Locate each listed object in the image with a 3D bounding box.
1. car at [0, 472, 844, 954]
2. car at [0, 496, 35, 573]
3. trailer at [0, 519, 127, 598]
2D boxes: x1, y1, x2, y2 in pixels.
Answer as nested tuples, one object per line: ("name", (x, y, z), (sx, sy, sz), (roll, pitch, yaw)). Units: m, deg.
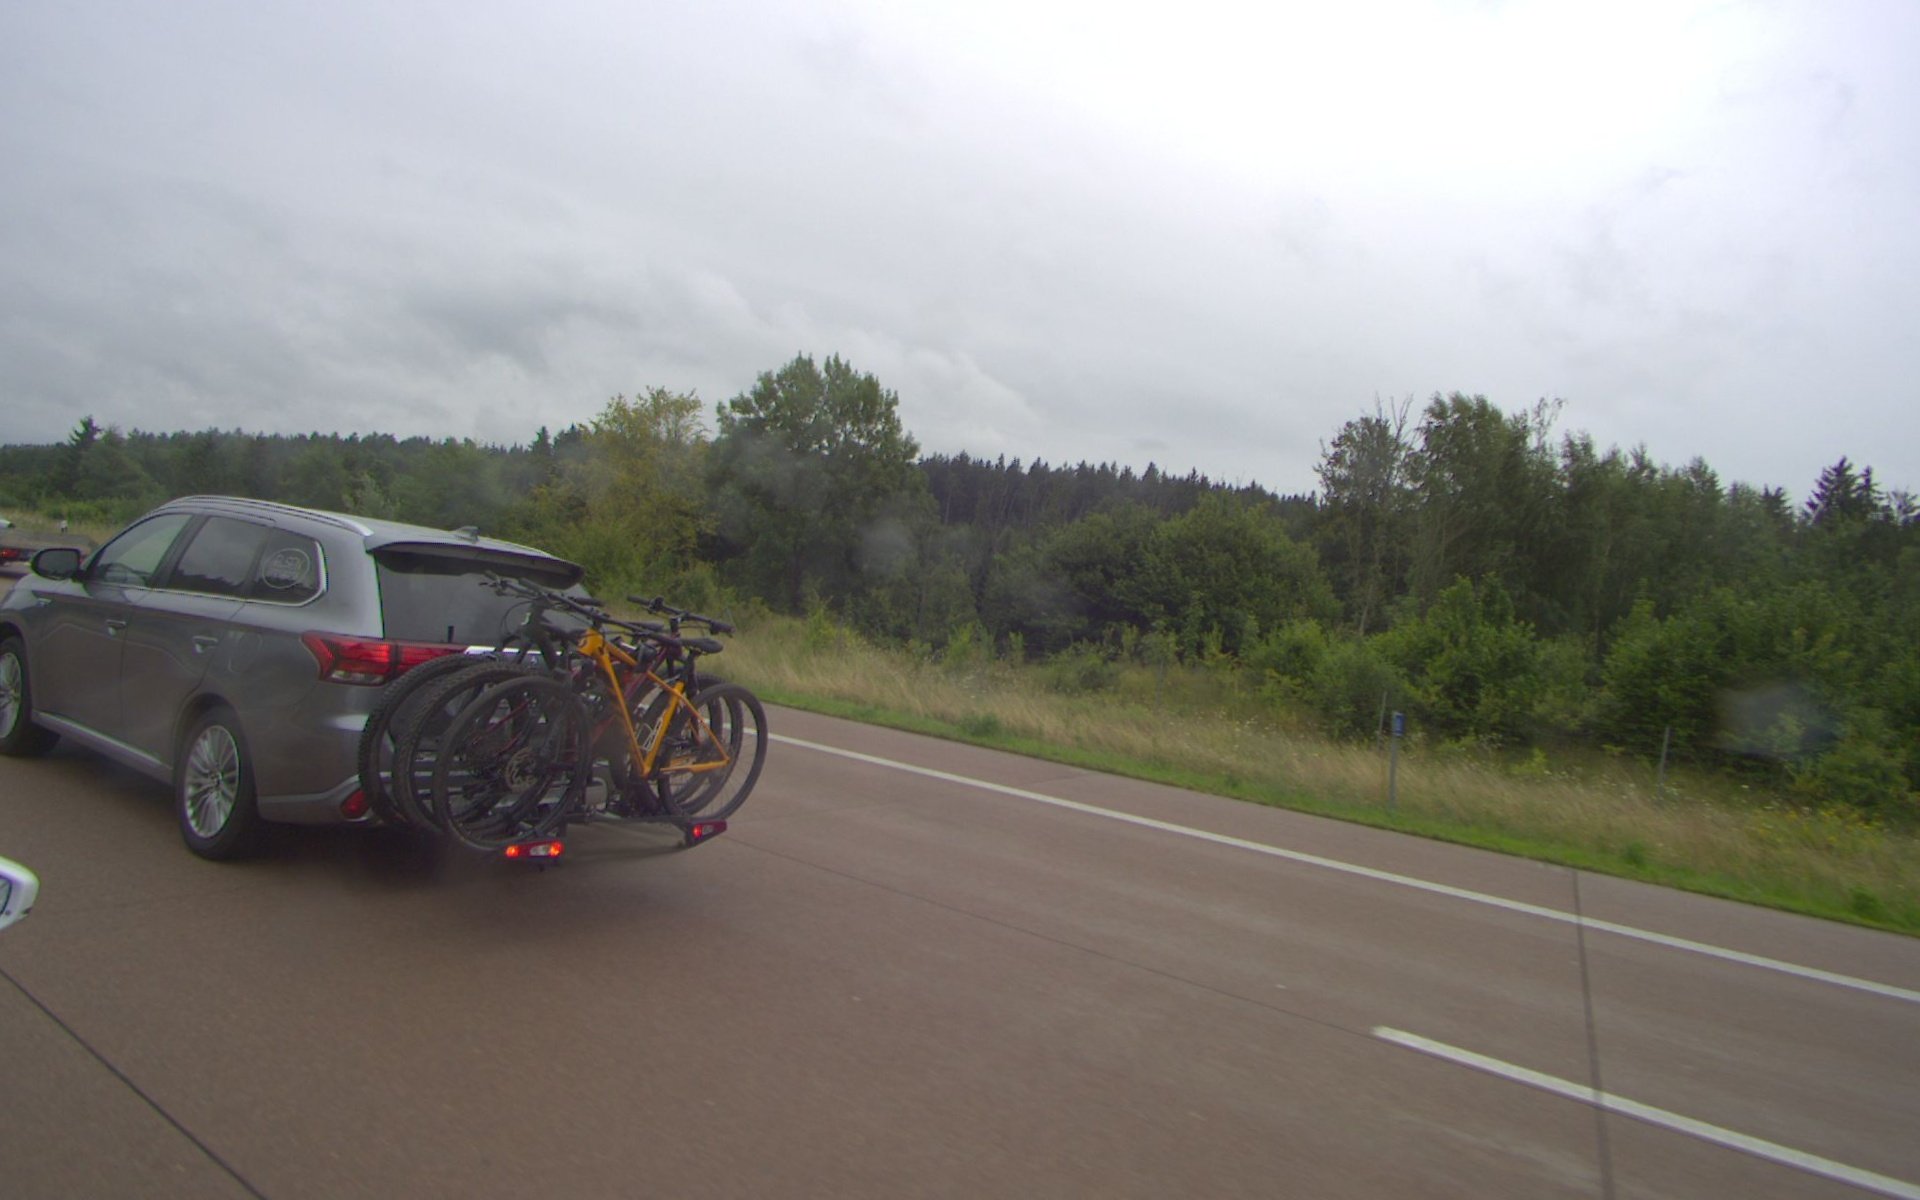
("car", (-3.627, 0.297, 5.850), (5.723, 1.611, 1.998), (5, -2, 31))
("car", (-23.084, -1.671, 22.889), (4.895, 1.631, 1.700), (6, -1, 32))
("trailer", (-19.110, -0.956, 20.468), (4.563, 1.180, 1.975), (7, -2, 33))
